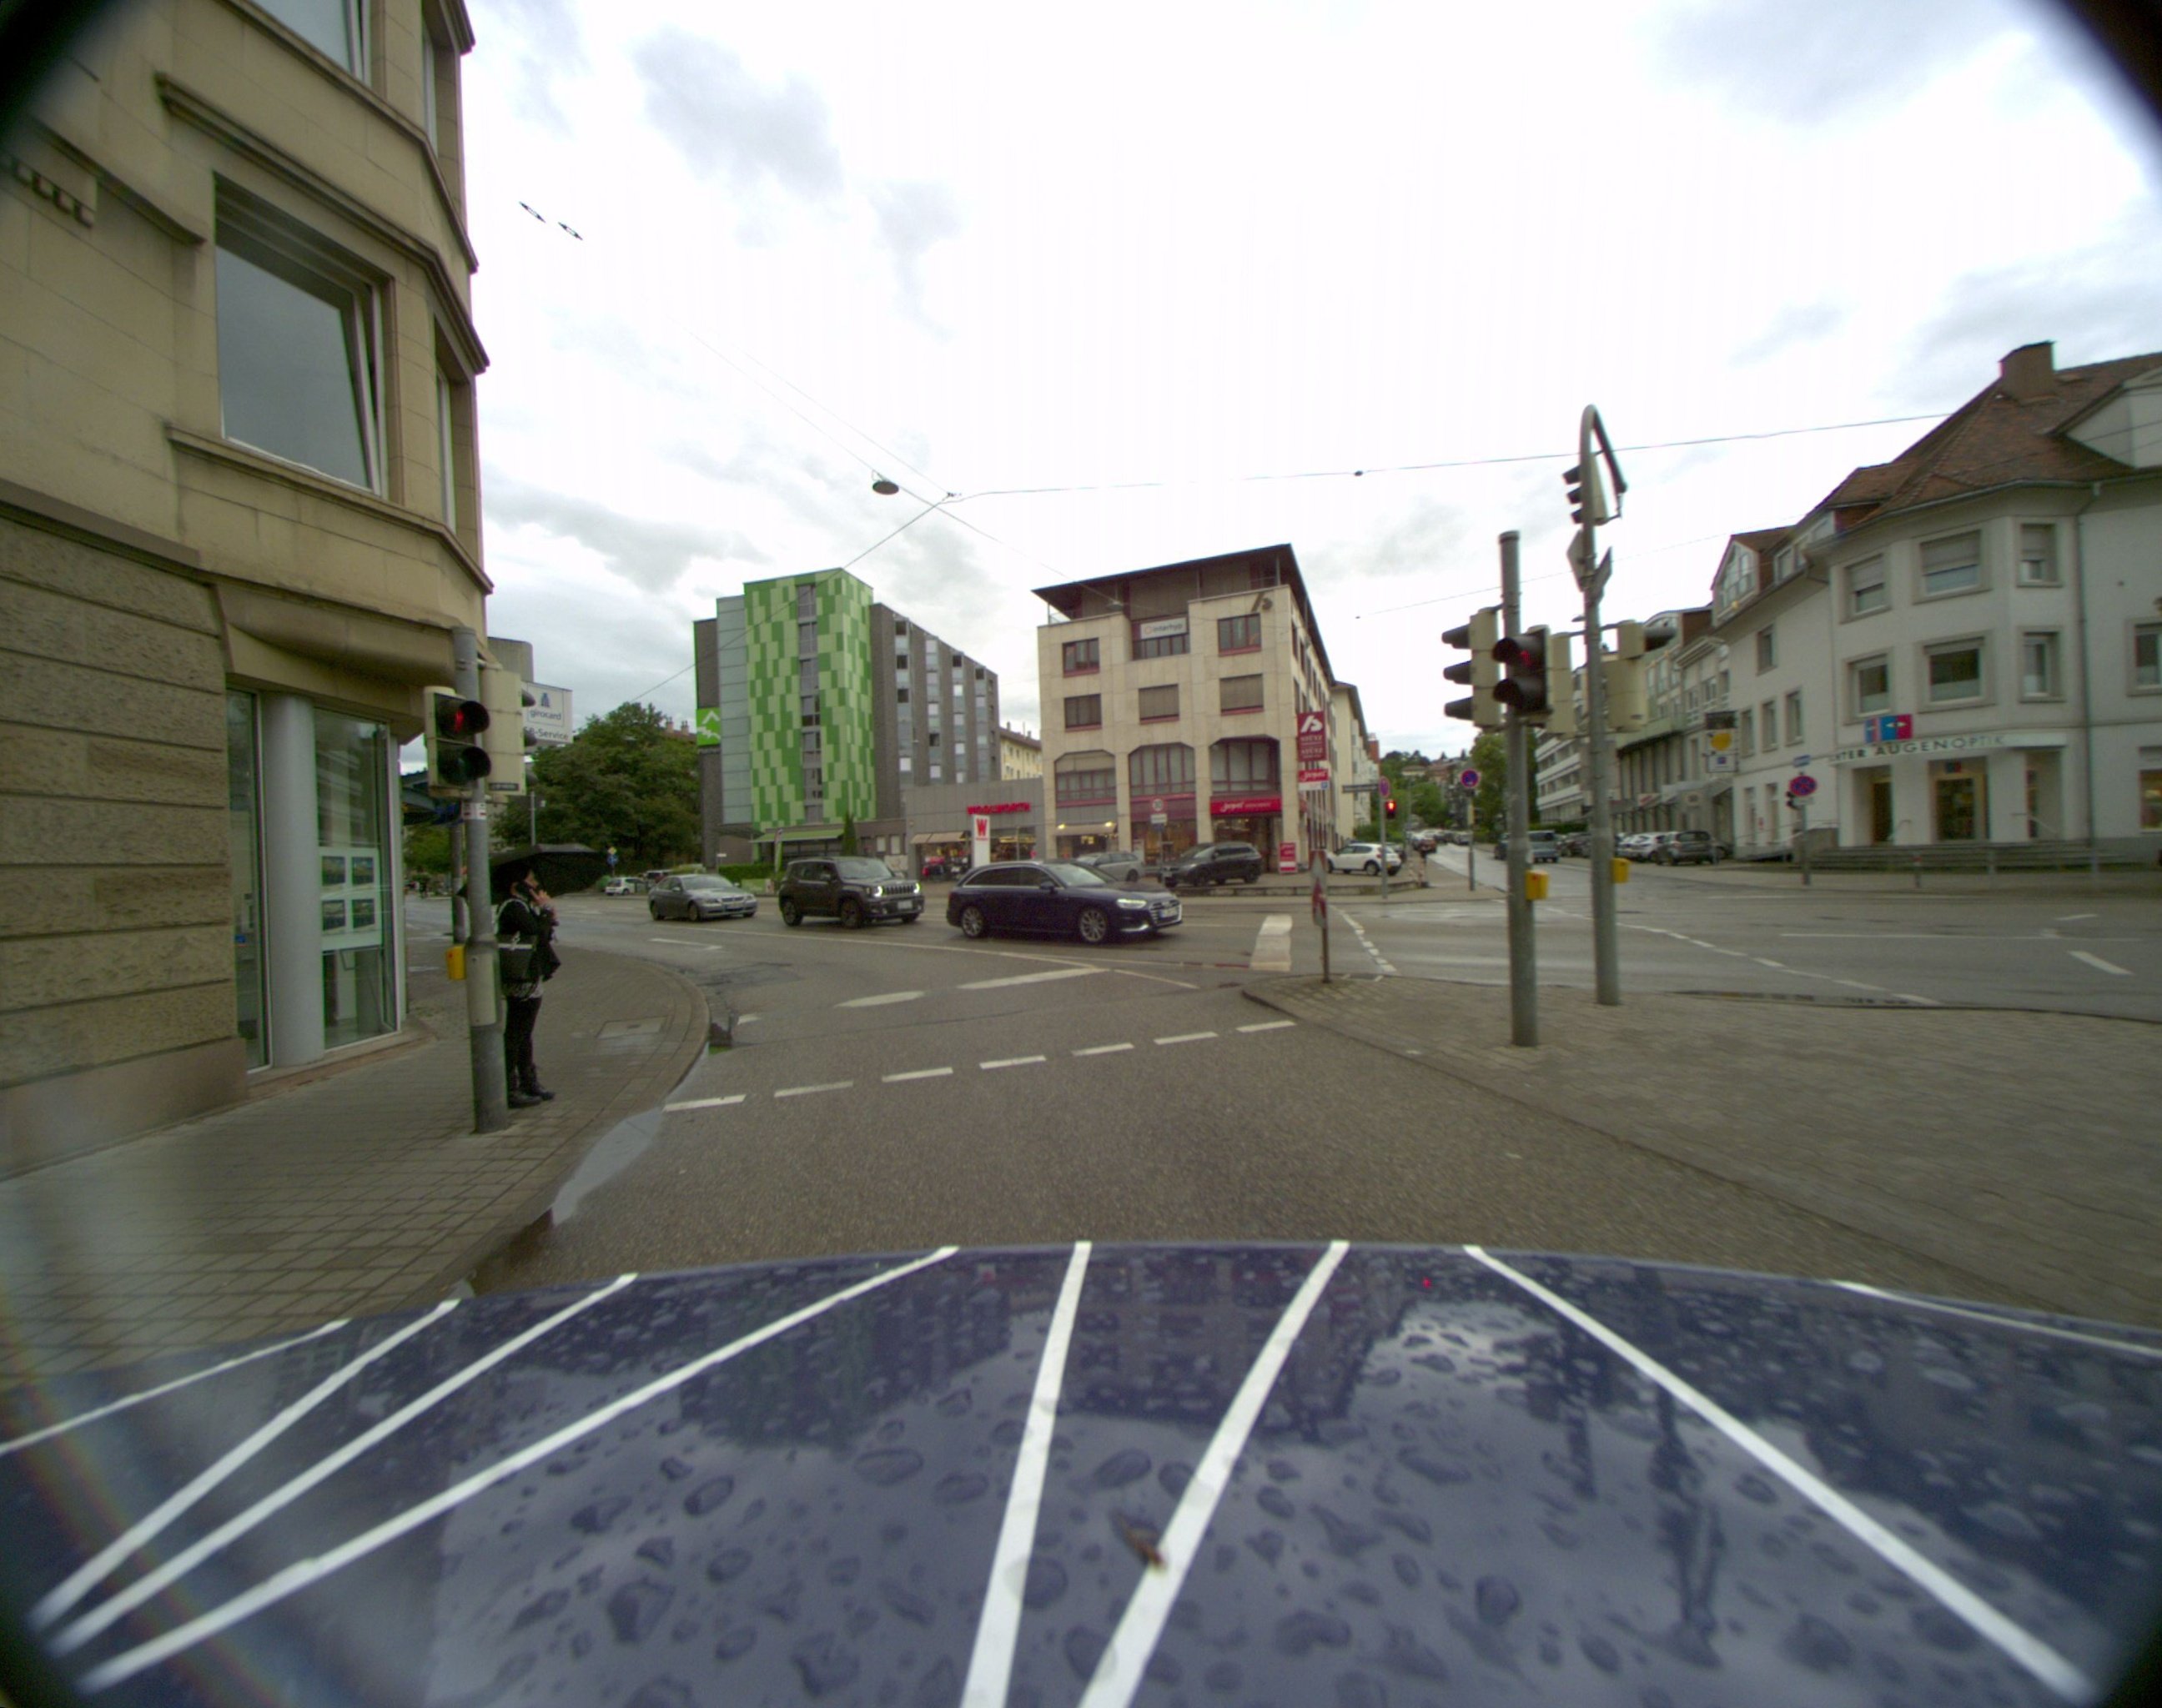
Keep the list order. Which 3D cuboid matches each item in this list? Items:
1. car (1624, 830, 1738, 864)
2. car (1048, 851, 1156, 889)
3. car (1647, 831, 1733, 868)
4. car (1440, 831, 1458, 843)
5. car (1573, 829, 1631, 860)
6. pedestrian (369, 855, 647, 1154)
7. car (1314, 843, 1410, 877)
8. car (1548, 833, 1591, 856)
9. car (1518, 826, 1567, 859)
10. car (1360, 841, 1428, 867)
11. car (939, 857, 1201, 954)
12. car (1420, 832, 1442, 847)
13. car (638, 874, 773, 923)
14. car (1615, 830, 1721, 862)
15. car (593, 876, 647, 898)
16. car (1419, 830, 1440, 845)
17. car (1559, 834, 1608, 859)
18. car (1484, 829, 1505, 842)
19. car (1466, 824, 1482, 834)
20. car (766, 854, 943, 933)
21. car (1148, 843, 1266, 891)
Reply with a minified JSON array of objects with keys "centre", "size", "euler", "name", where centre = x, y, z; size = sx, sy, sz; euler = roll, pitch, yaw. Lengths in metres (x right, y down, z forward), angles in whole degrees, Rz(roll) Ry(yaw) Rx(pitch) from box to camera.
[{"centre":[29.451,-0.345,37.444],"size":[3.991,1.499,2.003],"euler":[-2,1,21],"name":"car"},{"centre":[0.925,0.626,31.713],"size":[4.207,1.353,1.928],"euler":[-3,1,-39],"name":"car"},{"centre":[27.030,-0.212,33.901],"size":[1.995,1.499,4.006],"euler":[-2,1,24],"name":"car"},{"centre":[50.722,-2.393,104.842],"size":[1.995,1.576,4.666],"euler":[-2,1,23],"name":"car"},{"centre":[31.550,-0.601,46.123],"size":[1.996,1.575,4.006],"euler":[-8,-2,23],"name":"car"},{"centre":[-3.824,0.918,5.230],"size":[0.954,1.770,1.184],"euler":[-2,1,-4],"name":"pedestrian"},{"centre":[13.444,0.273,36.543],"size":[1.804,1.486,3.990],"euler":[-3,1,-35],"name":"car"},{"centre":[35.838,-0.736,55.812],"size":[1.995,1.576,4.006],"euler":[-2,1,23],"name":"car"},{"centre":[28.567,-0.742,47.149],"size":[1.995,1.904,4.006],"euler":[-2,1,23],"name":"car"},{"centre":[20.322,0.005,49.294],"size":[3.990,1.499,2.003],"euler":[-2,1,24],"name":"car"},{"centre":[-0.320,0.833,13.761],"size":[4.517,1.409,1.937],"euler":[-2,1,40],"name":"car"},{"centre":[37.343,-1.564,81.131],"size":[1.995,1.576,4.666],"euler":[-2,1,23],"name":"car"},{"centre":[-11.437,1.289,23.061],"size":[4.188,1.275,1.937],"euler":[-1,1,37],"name":"car"},{"centre":[30.582,-0.414,39.738],"size":[3.991,1.499,2.003],"euler":[-2,1,21],"name":"car"},{"centre":[-36.822,2.624,60.740],"size":[1.662,1.521,3.459],"euler":[-2,1,14],"name":"car"},{"centre":[39.480,-1.878,86.065],"size":[1.995,1.576,4.666],"euler":[-2,1,23],"name":"car"},{"centre":[33.803,-0.519,51.218],"size":[1.995,1.576,4.006],"euler":[-2,1,23],"name":"car"},{"centre":[53.038,-2.416,97.549],"size":[1.995,1.576,4.666],"euler":[-2,1,23],"name":"car"},{"centre":[67.219,-4.246,129.973],"size":[1.995,1.576,4.666],"euler":[-2,1,23],"name":"car"},{"centre":[-5.544,0.902,18.385],"size":[4.188,1.651,1.937],"euler":[-2,1,37],"name":"car"},{"centre":[4.769,0.454,28.539],"size":[4.265,1.540,1.928],"euler":[-3,1,-37],"name":"car"}]
